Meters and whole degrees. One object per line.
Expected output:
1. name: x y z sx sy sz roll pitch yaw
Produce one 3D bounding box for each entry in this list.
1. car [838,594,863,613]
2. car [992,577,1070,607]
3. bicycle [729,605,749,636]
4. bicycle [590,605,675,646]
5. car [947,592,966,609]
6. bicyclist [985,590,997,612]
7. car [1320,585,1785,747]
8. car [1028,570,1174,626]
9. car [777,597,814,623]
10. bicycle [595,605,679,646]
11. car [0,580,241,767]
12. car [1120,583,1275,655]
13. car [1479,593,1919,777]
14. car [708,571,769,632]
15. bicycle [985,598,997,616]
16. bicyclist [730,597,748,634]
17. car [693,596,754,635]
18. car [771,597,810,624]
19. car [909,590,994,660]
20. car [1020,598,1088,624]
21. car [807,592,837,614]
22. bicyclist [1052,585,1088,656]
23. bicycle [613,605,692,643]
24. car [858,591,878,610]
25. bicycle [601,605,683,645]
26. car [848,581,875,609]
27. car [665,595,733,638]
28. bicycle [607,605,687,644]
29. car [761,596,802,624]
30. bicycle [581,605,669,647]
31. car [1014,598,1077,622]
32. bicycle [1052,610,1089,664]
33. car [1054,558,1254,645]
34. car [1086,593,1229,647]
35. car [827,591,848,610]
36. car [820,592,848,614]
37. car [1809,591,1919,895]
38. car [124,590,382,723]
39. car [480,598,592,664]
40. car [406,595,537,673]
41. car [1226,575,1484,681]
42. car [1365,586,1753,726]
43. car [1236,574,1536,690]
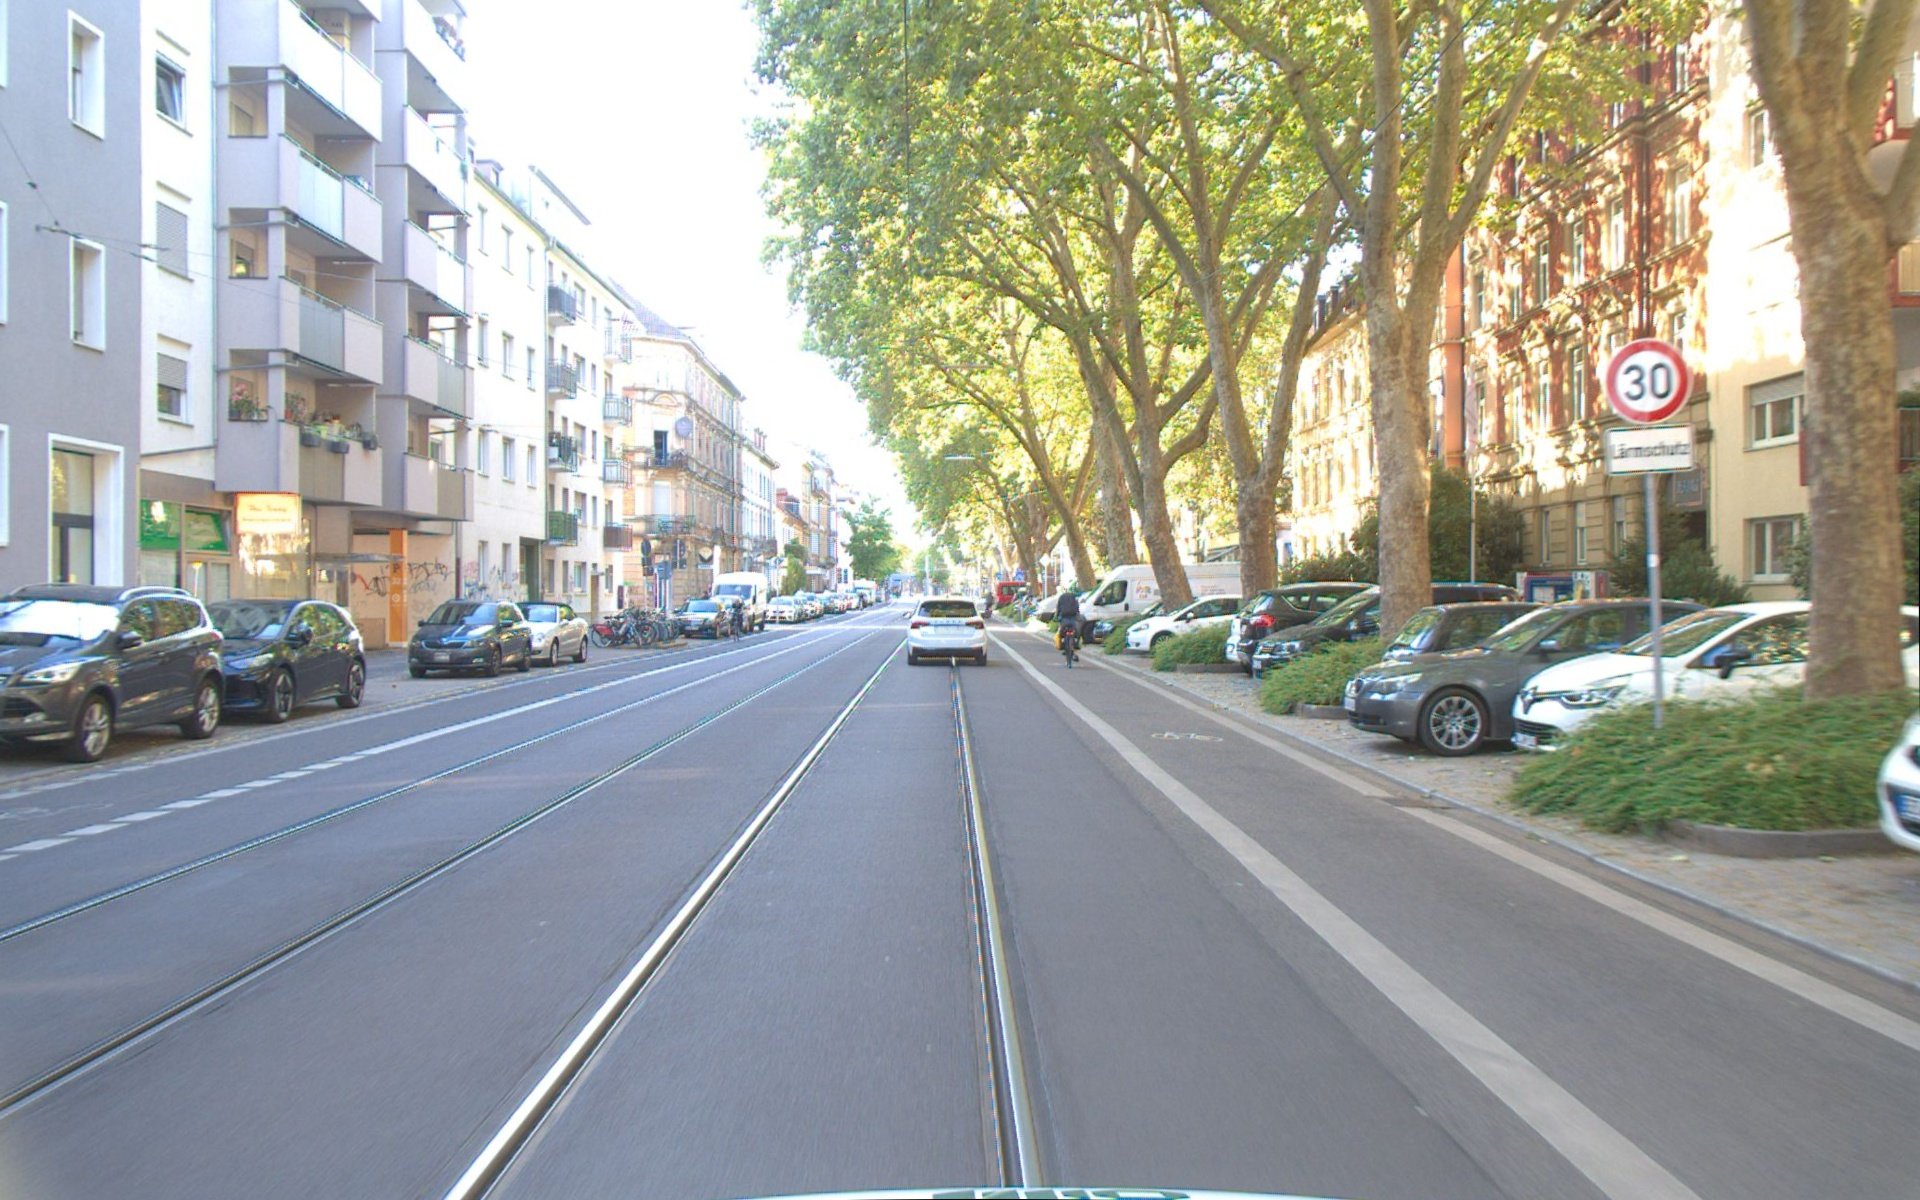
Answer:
1. car: -9.970 0.355 150.837 1.953 1.668 3.999 1 0 -1
2. car: 5.644 -0.662 131.522 6.007 2.322 2.528 0 0 -3
3. bicycle: -7.927 0.729 59.352 0.593 1.089 1.582 -1 0 -3
4. bicycle: -10.121 0.801 51.156 2.477 1.193 0.718 2 -2 -7
5. car: -0.314 0.043 151.526 1.725 1.501 4.000 -1 0 0
6. bicyclist: 1.932 0.074 102.641 0.636 1.367 0.934 -1 0 -3
7. car: 5.933 0.626 16.900 4.059 1.540 1.930 0 0 -2
8. car: 6.032 -0.087 71.302 6.007 2.322 2.528 0 0 -3
9. car: -10.248 0.624 103.510 1.953 1.557 3.999 0 0 -1
10. bicycle: -10.145 0.799 52.043 2.476 1.193 0.718 2 -2 -6
11. car: -9.311 0.666 17.464 1.668 1.679 4.240 2 0 -2
12. car: 5.760 0.447 40.425 3.559 1.695 1.822 0 0 1
13. car: 6.874 0.696 14.661 3.954 1.505 1.923 0 0 -1
14. car: -9.871 0.070 74.035 2.134 2.642 4.948 0 0 -1
15. bicycle: 1.939 0.429 102.669 0.636 1.089 1.582 -1 0 -2
16. bicyclist: -7.924 0.562 59.340 0.585 1.308 0.916 -1 0 -3
17. car: -9.705 0.625 68.093 1.953 1.557 3.999 0 0 -1
18. car: -10.080 0.598 98.586 1.953 1.557 3.999 0 0 -1
19. car: -0.187 0.503 35.829 1.725 1.408 4.000 -1 0 0
20. car: 5.706 0.657 100.765 3.967 1.567 2.000 0 0 -1
21. car: -10.304 0.217 123.667 1.953 1.557 3.999 0 0 -1
22. bicyclist: 2.317 0.426 34.897 0.664 1.468 1.047 -1 0 0
23. bicycle: -10.200 0.797 54.933 2.476 1.193 0.718 2 -2 -7
24. car: -9.869 0.051 177.945 1.953 2.049 3.999 0 0 -1
25. bicycle: -10.181 0.794 53.030 2.476 1.193 0.718 2 -2 -6
26. car: -11.733 -0.537 196.899 2.907 3.211 5.846 1 0 -1
27. car: -9.794 0.596 62.311 1.953 1.557 3.999 0 0 -1
28. bicycle: -10.194 0.791 53.879 2.476 1.193 0.718 2 -2 -6
29. car: -10.169 0.571 94.358 1.953 1.557 3.999 0 0 -1
30. bicycle: -10.172 0.798 50.273 2.509 1.193 0.870 3 -2 -41
31. car: 5.535 0.650 107.312 3.967 1.567 2.000 0 0 -1
32. bicycle: 2.318 0.770 34.850 0.667 1.089 1.781 -1 0 0
33. car: 6.120 0.039 52.684 6.007 2.681 2.528 0 0 -3
34. car: 5.919 0.592 49.847 3.971 1.567 1.997 0 0 -7
35. car: -12.982 0.049 175.425 1.953 2.049 3.999 0 0 -1
36. car: -9.918 0.234 130.362 1.953 1.668 3.999 1 0 -1
37. car: 6.649 0.698 8.412 3.820 1.505 1.722 0 0 -4
38. car: -9.446 0.693 22.493 1.668 1.571 4.241 2 0 -1
39. car: -9.688 0.671 38.020 1.454 1.428 3.991 0 0 1
40. car: -9.734 0.641 33.206 1.620 1.462 3.835 0 0 -2
41. car: 6.581 0.458 27.825 3.906 1.709 1.723 0 0 -2
42. car: 6.914 0.623 19.356 3.906 1.540 1.760 0 0 -2
43. car: 6.498 0.468 25.518 4.149 1.695 1.847 0 0 -2
